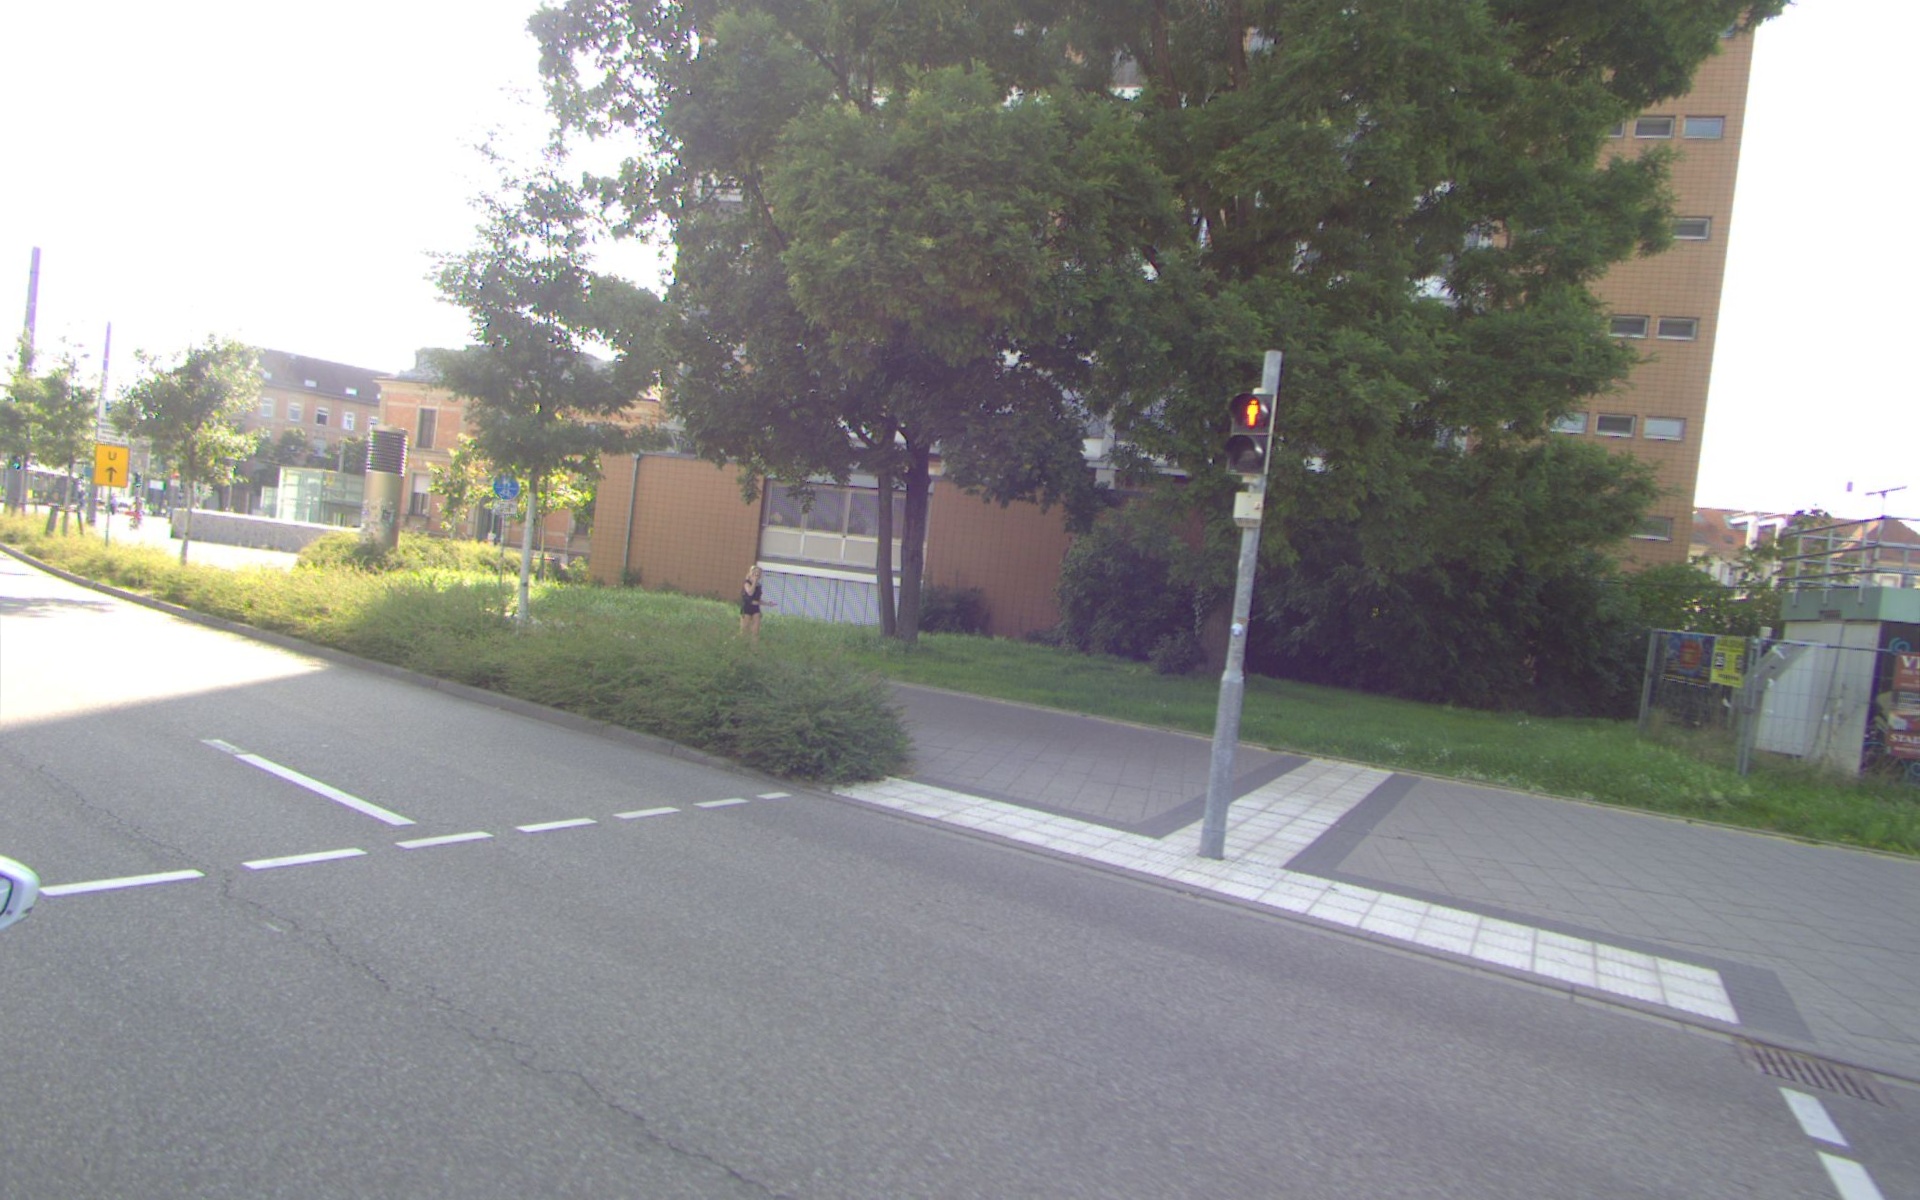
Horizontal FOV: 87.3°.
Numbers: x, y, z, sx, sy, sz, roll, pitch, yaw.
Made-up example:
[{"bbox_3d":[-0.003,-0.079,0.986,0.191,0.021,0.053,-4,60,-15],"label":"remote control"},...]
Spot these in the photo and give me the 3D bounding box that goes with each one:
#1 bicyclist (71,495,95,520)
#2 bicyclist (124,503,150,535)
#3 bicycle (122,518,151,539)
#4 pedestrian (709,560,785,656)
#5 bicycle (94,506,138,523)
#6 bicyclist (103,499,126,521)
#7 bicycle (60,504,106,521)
[{"bbox_3d":[-72.206,-7.606,82.854,1.072,1.822,0.937,7,1,19],"label":"bicyclist"},{"bbox_3d":[-42.518,-4.187,51.979,0.713,1.532,0.997,6,1,-28],"label":"bicyclist"},{"bbox_3d":[-42.603,-3.689,52.057,0.713,0.972,1.907,6,0,-28],"label":"bicycle"},{"bbox_3d":[-3.526,0.135,16.638,0.845,1.461,0.724,7,1,39],"label":"pedestrian"},{"bbox_3d":[-71.825,-7.267,85.641,1.073,0.976,2.627,7,0,19],"label":"bicycle"},{"bbox_3d":[-71.837,-7.644,85.446,1.072,1.701,0.937,7,1,19],"label":"bicyclist"},{"bbox_3d":[-72.253,-7.182,82.880,1.073,0.976,2.627,7,0,19],"label":"bicycle"}]
